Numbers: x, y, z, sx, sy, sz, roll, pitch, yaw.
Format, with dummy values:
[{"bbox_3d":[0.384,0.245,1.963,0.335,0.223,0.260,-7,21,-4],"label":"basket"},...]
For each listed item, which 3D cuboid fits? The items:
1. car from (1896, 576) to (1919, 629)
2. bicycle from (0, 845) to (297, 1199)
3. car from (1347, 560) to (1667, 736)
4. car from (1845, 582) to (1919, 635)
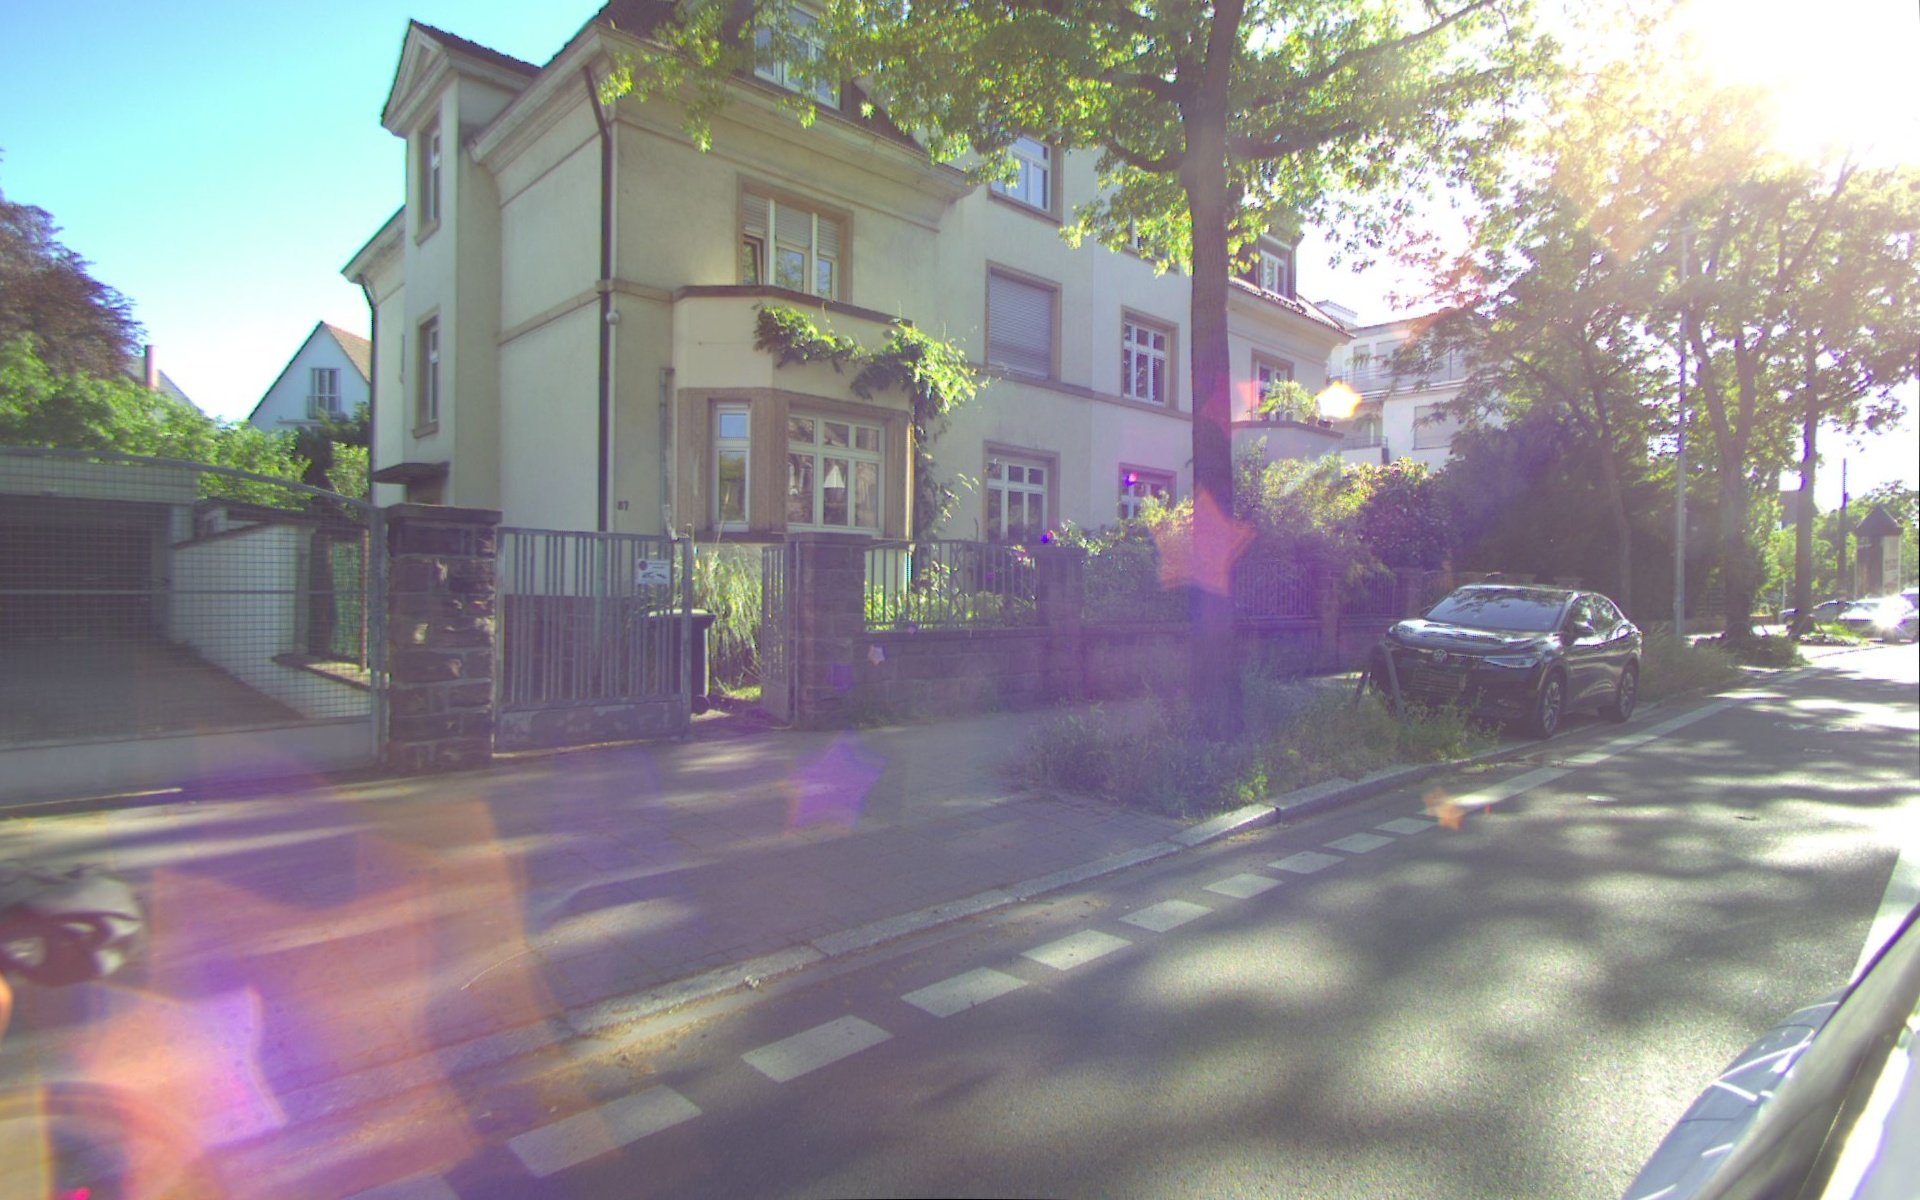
[{"bbox_3d":[36.908,0.080,37.968,4.663,1.919,2.128,0,1,-41],"label":"car"},{"bbox_3d":[-1.954,0.983,1.229,1.852,0.937,0.677,0,1,-41],"label":"bicycle"},{"bbox_3d":[6.697,0.480,12.199,4.304,1.695,1.997,1,2,-42],"label":"car"},{"bbox_3d":[31.506,0.257,34.101,3.927,1.660,1.824,0,1,-38],"label":"car"}]
